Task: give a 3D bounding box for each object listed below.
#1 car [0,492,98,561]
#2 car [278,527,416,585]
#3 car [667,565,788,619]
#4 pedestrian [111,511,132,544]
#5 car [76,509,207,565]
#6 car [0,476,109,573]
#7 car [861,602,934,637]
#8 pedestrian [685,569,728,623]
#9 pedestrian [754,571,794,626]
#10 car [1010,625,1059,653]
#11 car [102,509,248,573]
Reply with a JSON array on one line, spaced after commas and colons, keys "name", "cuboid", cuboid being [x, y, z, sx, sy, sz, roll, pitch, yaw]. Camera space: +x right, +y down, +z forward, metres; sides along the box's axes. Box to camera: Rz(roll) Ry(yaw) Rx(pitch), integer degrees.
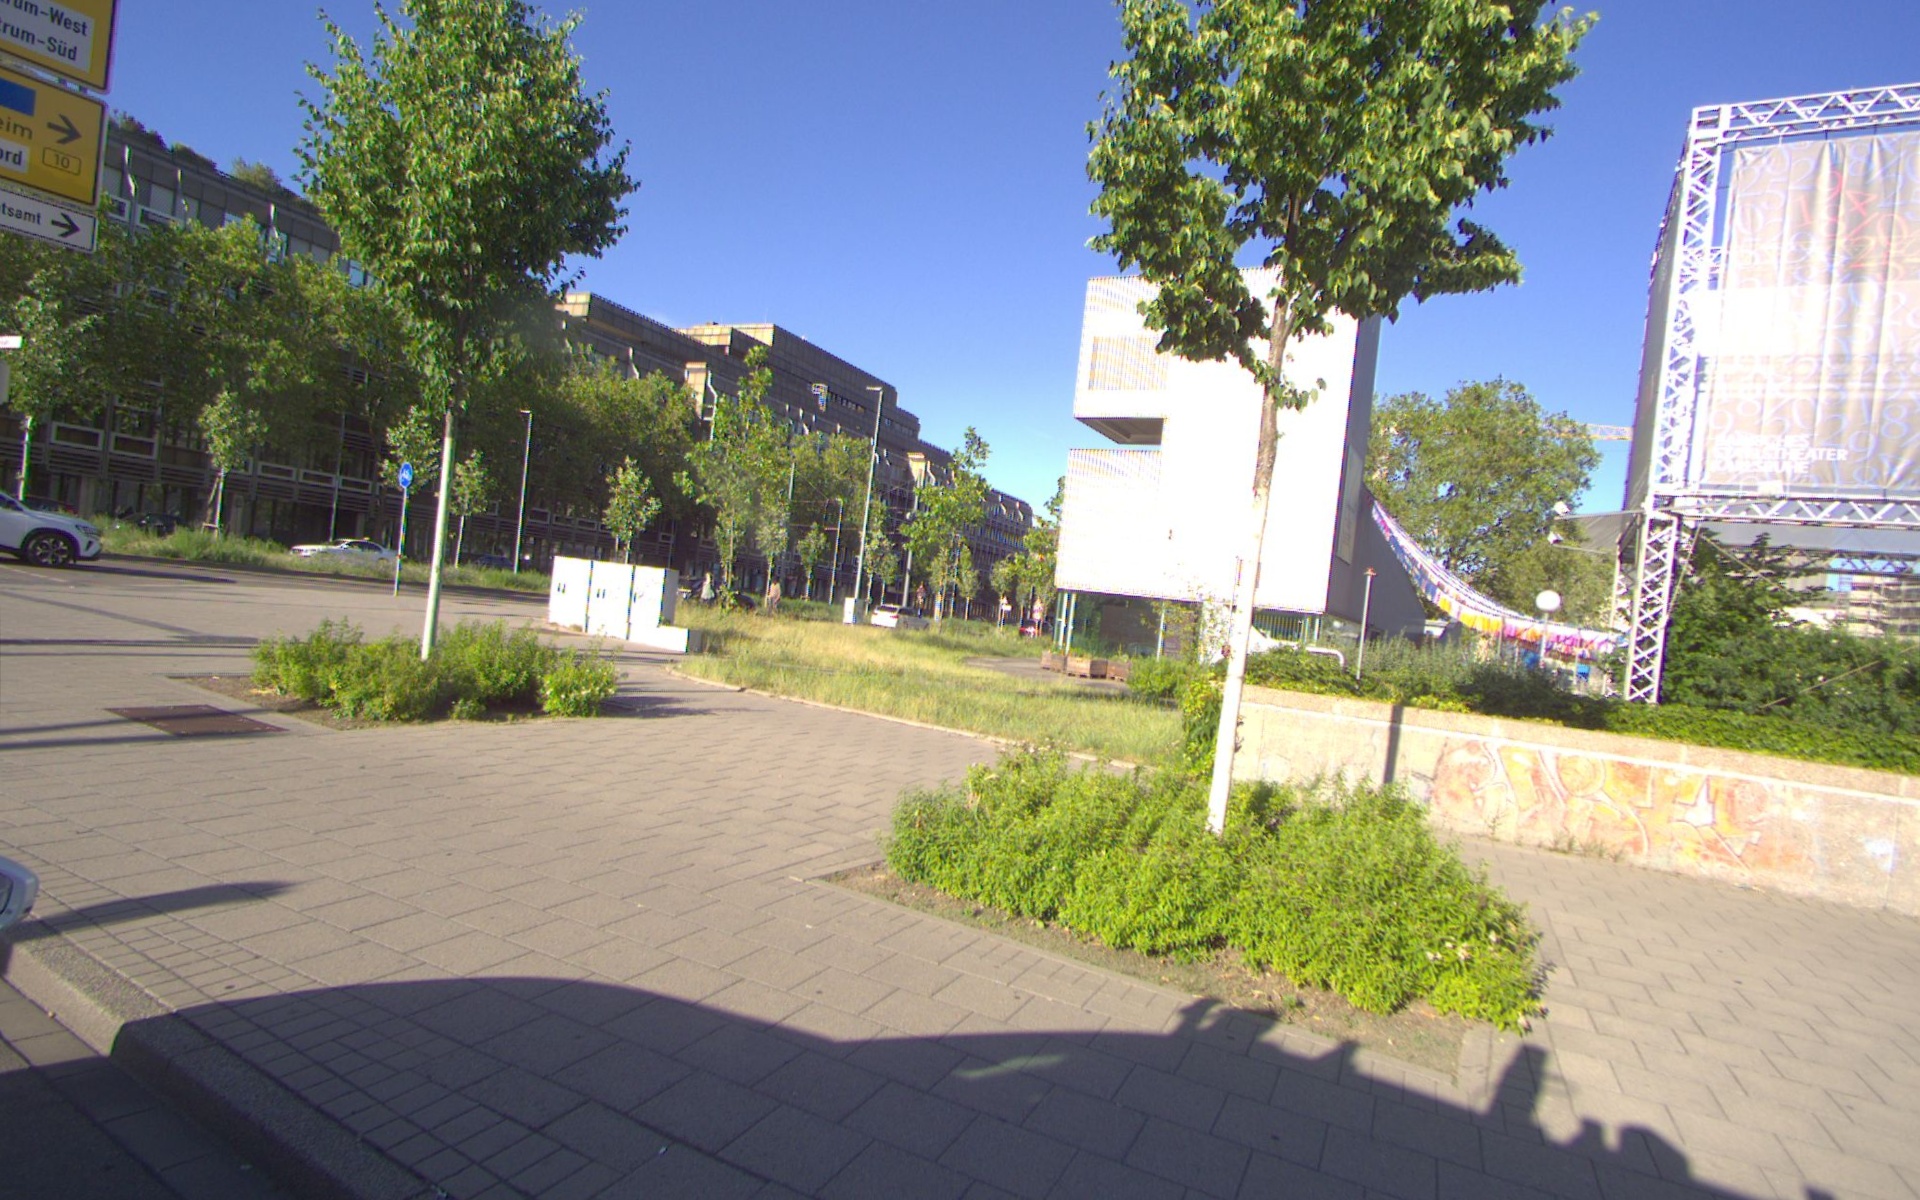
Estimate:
[{"name": "car", "cuboid": [-33.320, -2.705, 35.367, 1.966, 2.037, 3.997, 6, -2, 29]}, {"name": "car", "cuboid": [-30.682, -2.176, 50.578, 2.062, 2.036, 5.455, 6, -2, 29]}, {"name": "car", "cuboid": [-9.569, -0.287, 41.879, 1.965, 1.621, 4.948, 8, 0, 29]}, {"name": "pedestrian", "cuboid": [-43.019, -3.722, 51.612, 0.576, 1.610, 0.541, 7, 1, 29]}, {"name": "car", "cuboid": [-36.946, -2.815, 45.508, 1.965, 1.770, 3.998, 6, -2, 28]}, {"name": "car", "cuboid": [-19.553, -1.674, 19.406, 1.970, 1.680, 4.391, 8, 0, 38]}, {"name": "car", "cuboid": [-3.384, 1.097, 55.705, 1.964, 1.546, 4.700, 7, -1, 24]}, {"name": "pedestrian", "cuboid": [-8.348, -0.128, 33.139, 0.925, 1.650, 0.803, 7, 1, 18]}, {"name": "pedestrian", "cuboid": [-6.280, -0.045, 33.938, 0.925, 1.750, 0.695, 7, 1, 18]}, {"name": "car", "cuboid": [5.614, 2.943, 75.338, 1.965, 1.779, 4.483, 7, -1, 27]}, {"name": "car", "cuboid": [-34.118, -2.523, 43.874, 1.965, 2.036, 4.458, 7, -2, 27]}]
